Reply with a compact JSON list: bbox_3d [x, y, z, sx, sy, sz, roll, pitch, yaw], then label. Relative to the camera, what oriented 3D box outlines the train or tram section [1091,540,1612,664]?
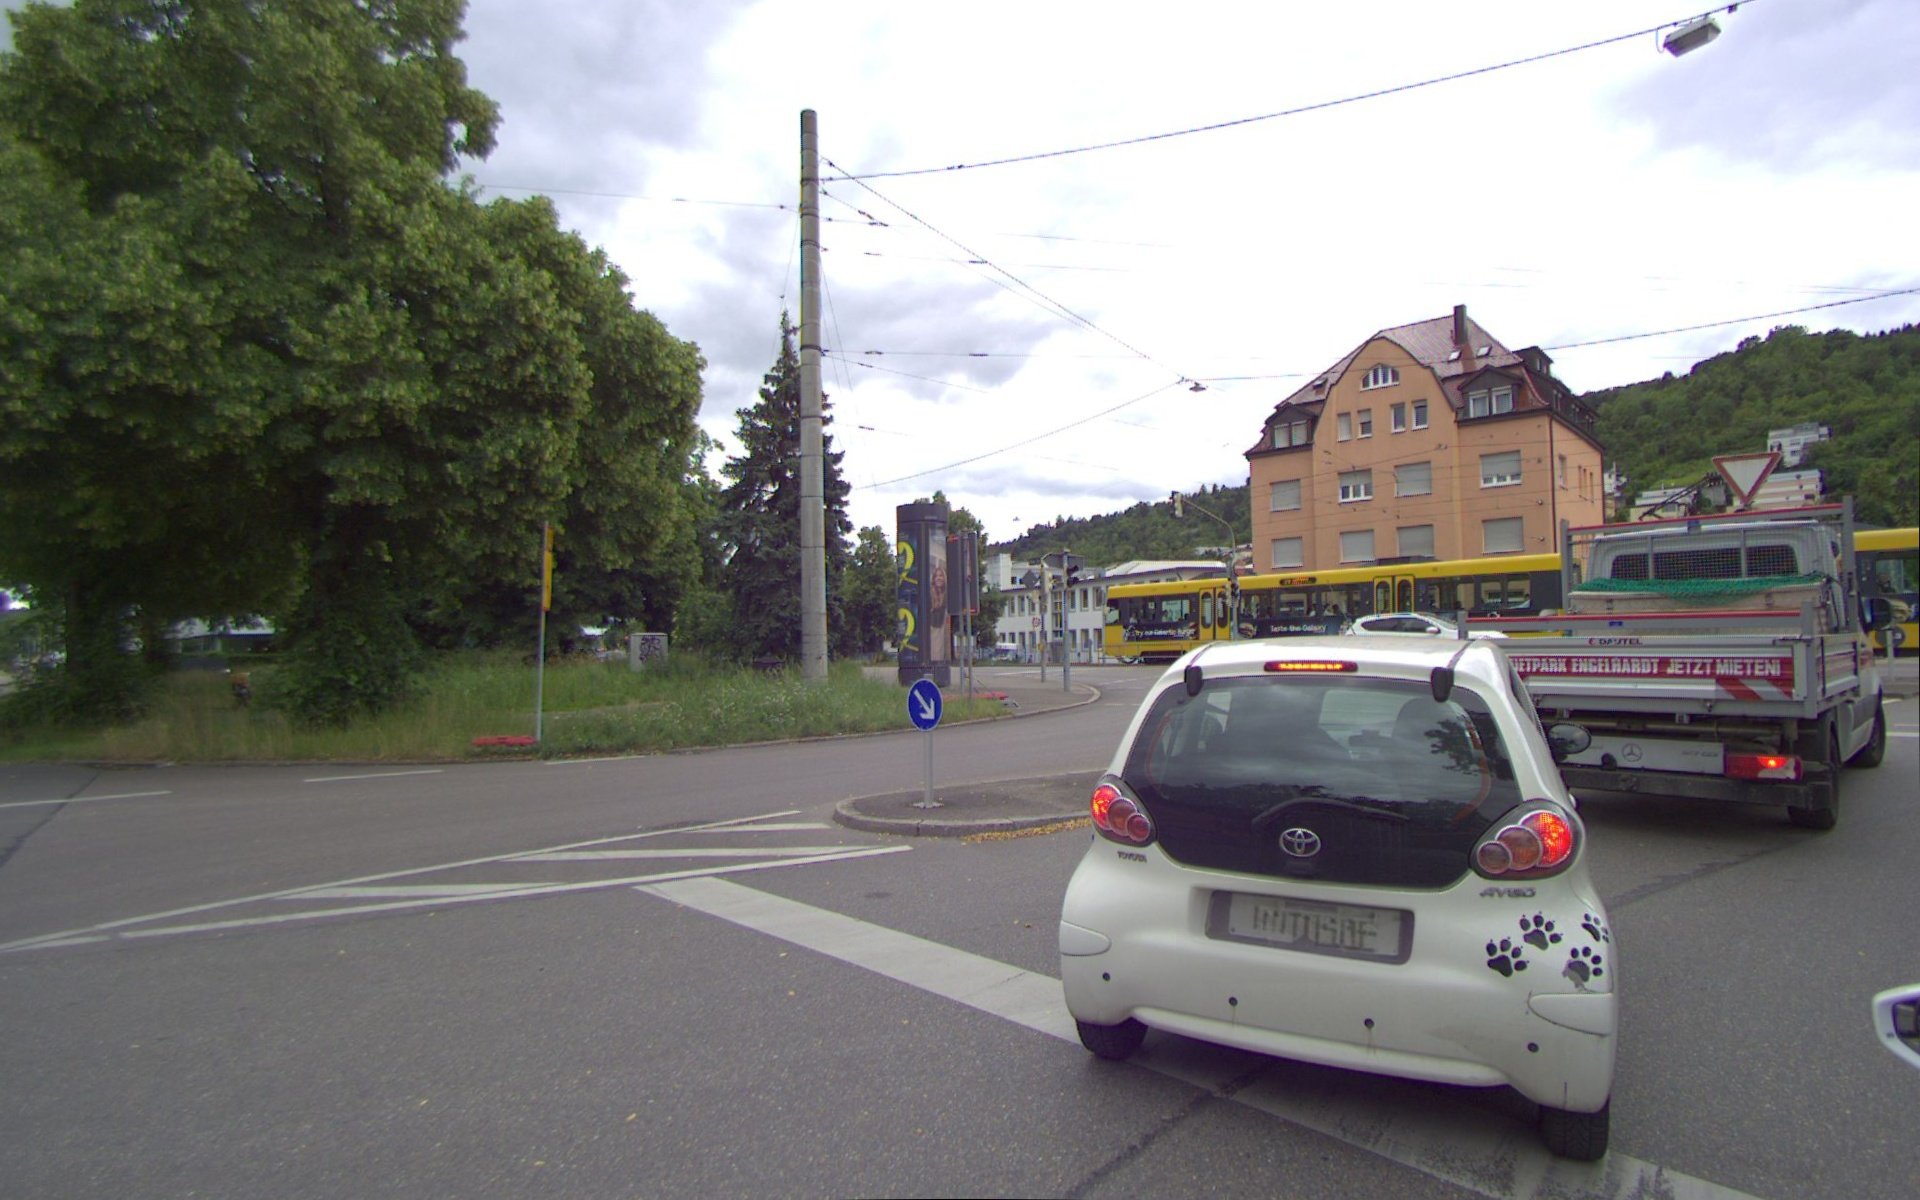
[{"bbox_3d":[13.435,0.504,38.341,3.255,3.713,18.933,0,-3,-43],"label":"train or tram section"}]

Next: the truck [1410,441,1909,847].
[{"bbox_3d":[6.514,0.359,8.955,5.986,2.429,2.399,1,-4,-43],"label":"truck"}]

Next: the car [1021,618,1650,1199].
[{"bbox_3d":[1.737,0.859,4.316,1.615,1.451,3.426,-3,-3,28],"label":"car"}]

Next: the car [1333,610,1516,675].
[{"bbox_3d":[12.383,1.157,26.931,1.791,1.605,4.073,1,-3,-44],"label":"car"}]

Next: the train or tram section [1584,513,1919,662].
[{"bbox_3d":[26.839,-0.416,24.992,18.906,3.714,3.259,-4,-3,43],"label":"train or tram section"}]
